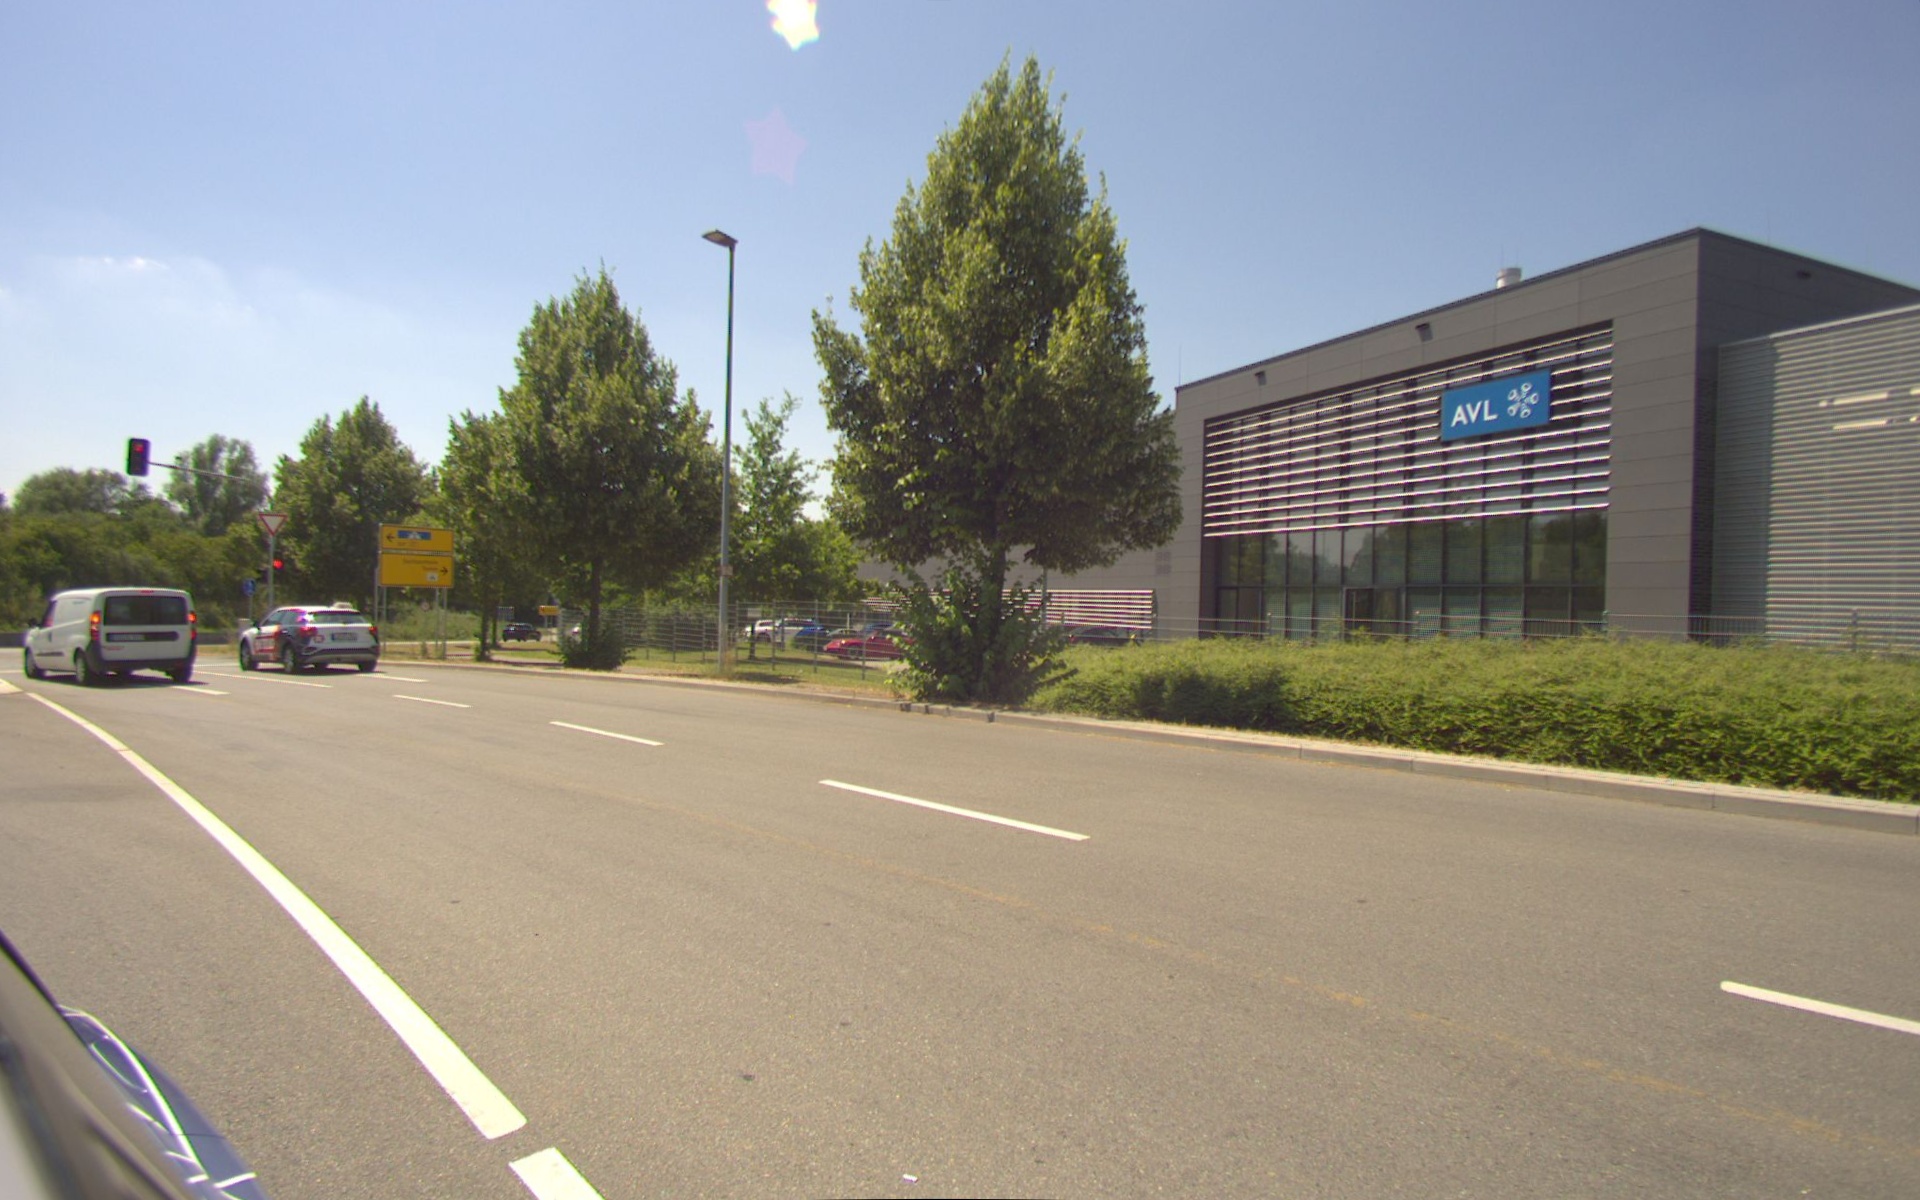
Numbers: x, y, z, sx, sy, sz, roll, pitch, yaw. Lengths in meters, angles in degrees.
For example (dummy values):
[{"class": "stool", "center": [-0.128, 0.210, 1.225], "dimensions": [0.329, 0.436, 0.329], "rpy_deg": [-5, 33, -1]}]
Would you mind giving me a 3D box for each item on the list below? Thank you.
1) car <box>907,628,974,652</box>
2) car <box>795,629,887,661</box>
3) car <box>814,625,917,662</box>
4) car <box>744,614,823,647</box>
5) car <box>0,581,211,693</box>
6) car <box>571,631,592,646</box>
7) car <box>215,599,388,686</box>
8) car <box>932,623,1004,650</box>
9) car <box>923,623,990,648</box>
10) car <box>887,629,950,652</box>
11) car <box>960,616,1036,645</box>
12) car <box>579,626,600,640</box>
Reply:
[{"class": "car", "center": [-1.315, 2.658, 67.036], "dimensions": [3.931, 1.497, 2.006], "rpy_deg": [2, -4, -27]}, {"class": "car", "center": [-5.743, 2.195, 48.929], "dimensions": [3.931, 1.497, 2.006], "rpy_deg": [2, -4, -27]}, {"class": "car", "center": [-4.078, 1.907, 43.673], "dimensions": [3.931, 1.497, 2.006], "rpy_deg": [2, -4, -27]}, {"class": "car", "center": [-9.901, 1.725, 56.690], "dimensions": [3.931, 1.719, 2.006], "rpy_deg": [2, -4, -27]}, {"class": "car", "center": [-17.430, 0.643, 20.576], "dimensions": [4.858, 1.957, 1.977], "rpy_deg": [1, 3, 34]}, {"class": "car", "center": [-49.005, 5.041, 131.194], "dimensions": [1.967, 1.796, 4.009], "rpy_deg": [1, -3, -12]}, {"class": "car", "center": [-15.301, 0.903, 23.486], "dimensions": [3.854, 1.720, 1.977], "rpy_deg": [1, 3, 34]}, {"class": "car", "center": [0.505, 2.259, 61.925], "dimensions": [3.931, 1.497, 2.006], "rpy_deg": [2, -4, -27]}, {"class": "car", "center": [-0.218, 2.274, 64.524], "dimensions": [3.931, 1.471, 1.777], "rpy_deg": [2, -4, -27]}, {"class": "car", "center": [-2.934, 2.852, 71.052], "dimensions": [3.931, 1.497, 2.006], "rpy_deg": [2, -4, -27]}, {"class": "car", "center": [2.189, 1.776, 58.917], "dimensions": [3.931, 1.528, 1.926], "rpy_deg": [-1, -2, -28]}, {"class": "car", "center": [-42.122, 3.790, 114.903], "dimensions": [1.709, 1.453, 4.406], "rpy_deg": [2, -4, -27]}]
